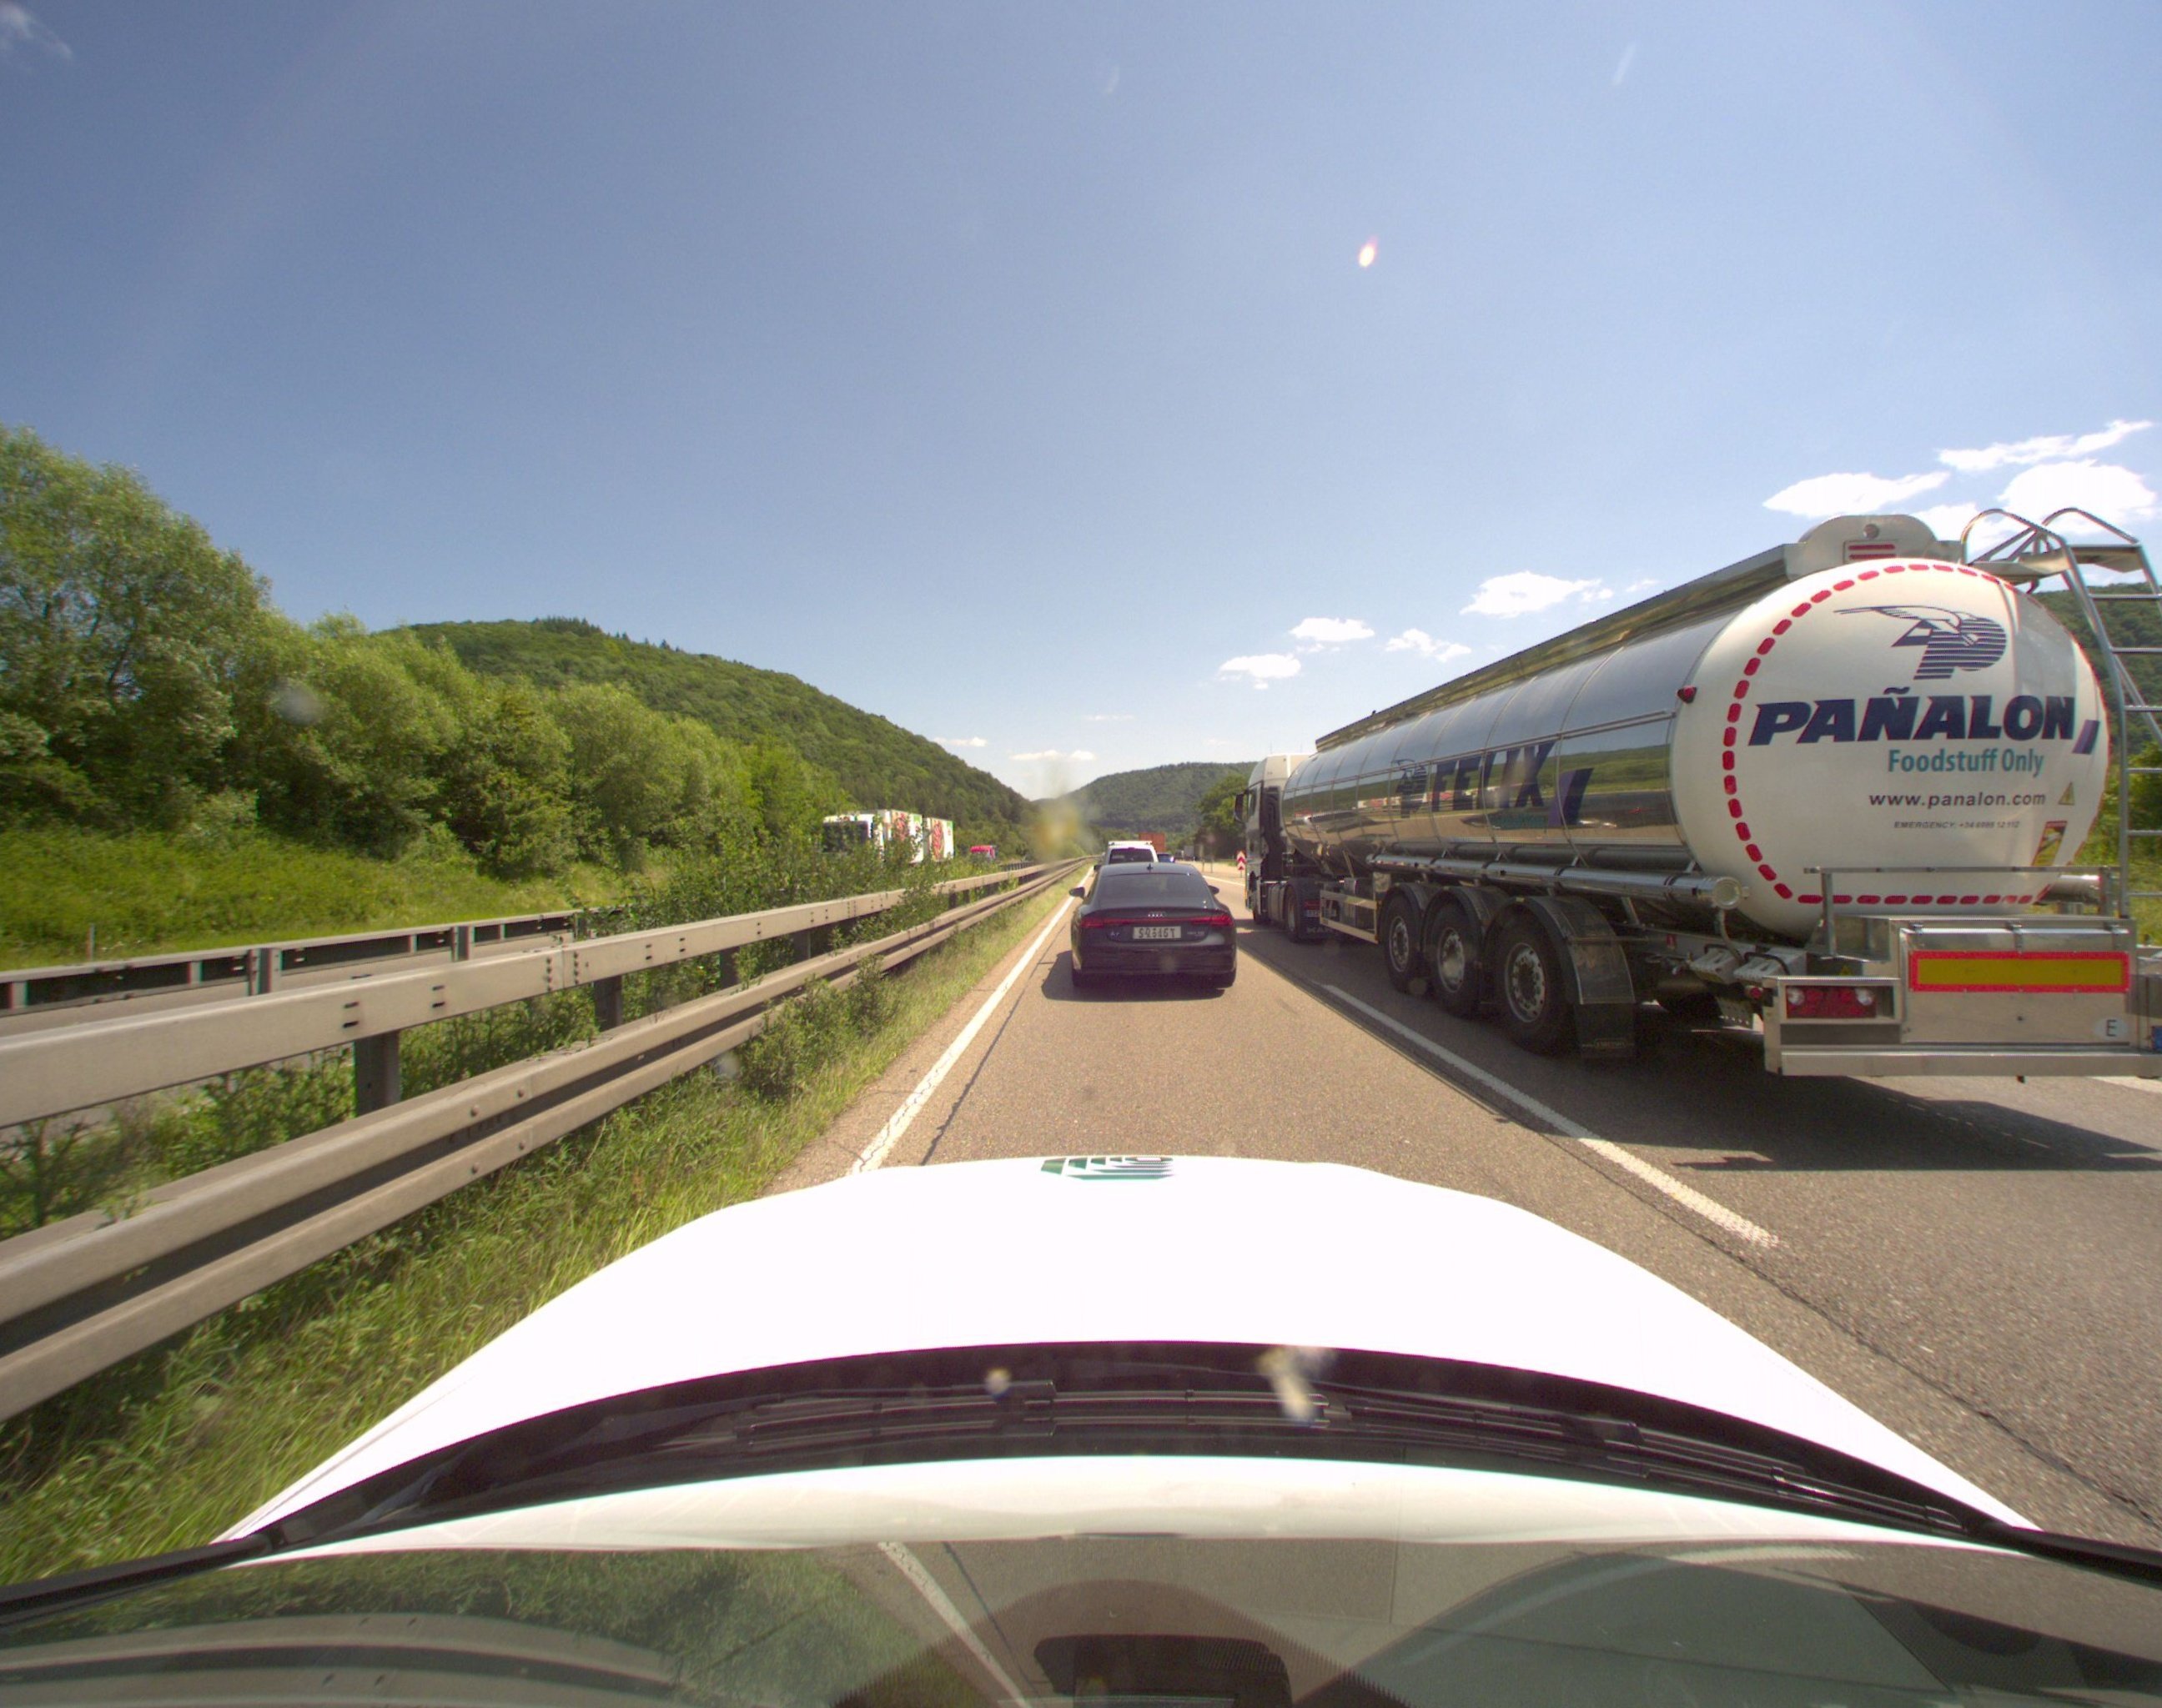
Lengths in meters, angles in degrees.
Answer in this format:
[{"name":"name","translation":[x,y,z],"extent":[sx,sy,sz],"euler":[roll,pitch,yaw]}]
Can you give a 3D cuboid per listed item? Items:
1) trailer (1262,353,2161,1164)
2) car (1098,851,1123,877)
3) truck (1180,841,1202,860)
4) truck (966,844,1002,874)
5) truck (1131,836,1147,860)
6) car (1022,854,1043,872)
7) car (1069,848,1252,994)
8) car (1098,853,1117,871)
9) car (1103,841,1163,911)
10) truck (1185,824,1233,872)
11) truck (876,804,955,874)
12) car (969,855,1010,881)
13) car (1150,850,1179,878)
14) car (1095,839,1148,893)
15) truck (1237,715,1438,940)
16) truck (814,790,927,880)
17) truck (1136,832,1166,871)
[{"name":"trailer","translation":[4.611,-0.444,9.710],"extent":[2.529,3.735,11.894],"euler":[-1,0,1]},{"name":"car","translation":[2.367,0.774,65.893],"extent":[1.986,2.013,4.001],"euler":[-1,0,1]},{"name":"truck","translation":[27.973,-0.847,206.313],"extent":[3.767,4.414,15.010],"euler":[-1,0,14]},{"name":"truck","translation":[-8.906,0.420,75.523],"extent":[2.288,2.588,7.969],"euler":[-1,0,1]},{"name":"truck","translation":[8.586,-0.873,121.548],"extent":[1.986,3.447,11.816],"euler":[-1,0,2]},{"name":"car","translation":[-4.645,0.837,78.514],"extent":[1.771,1.599,4.000],"euler":[-1,0,1]},{"name":"car","translation":[0.796,0.689,10.447],"extent":[1.844,1.488,4.080],"euler":[-1,0,-1]},{"name":"car","translation":[2.624,0.781,79.500],"extent":[1.705,1.618,4.003],"euler":[-1,0,3]},{"name":"car","translation":[1.433,0.581,23.586],"extent":[1.570,1.833,4.002],"euler":[-1,0,2]},{"name":"truck","translation":[11.707,-0.530,75.842],"extent":[2.806,4.003,14.965],"euler":[-1,0,3]},{"name":"truck","translation":[-10.169,-0.847,51.199],"extent":[2.859,3.980,9.034],"euler":[-1,0,1]},{"name":"car","translation":[-6.113,0.884,54.805],"extent":[1.986,1.641,5.034],"euler":[-1,0,2]},{"name":"car","translation":[6.444,0.738,63.011],"extent":[1.985,2.002,4.003],"euler":[-1,0,3]},{"name":"car","translation":[1.578,0.468,32.676],"extent":[1.986,2.013,4.002],"euler":[-1,0,2]},{"name":"truck","translation":[4.807,-0.441,16.290],"extent":[2.502,3.758,5.248],"euler":[-1,0,2]},{"name":"truck","translation":[-10.410,-0.854,41.591],"extent":[2.859,4.006,10.173],"euler":[-1,0,1]},{"name":"truck","translation":[7.728,-0.237,91.600],"extent":[2.806,4.003,14.965],"euler":[-1,0,3]}]
